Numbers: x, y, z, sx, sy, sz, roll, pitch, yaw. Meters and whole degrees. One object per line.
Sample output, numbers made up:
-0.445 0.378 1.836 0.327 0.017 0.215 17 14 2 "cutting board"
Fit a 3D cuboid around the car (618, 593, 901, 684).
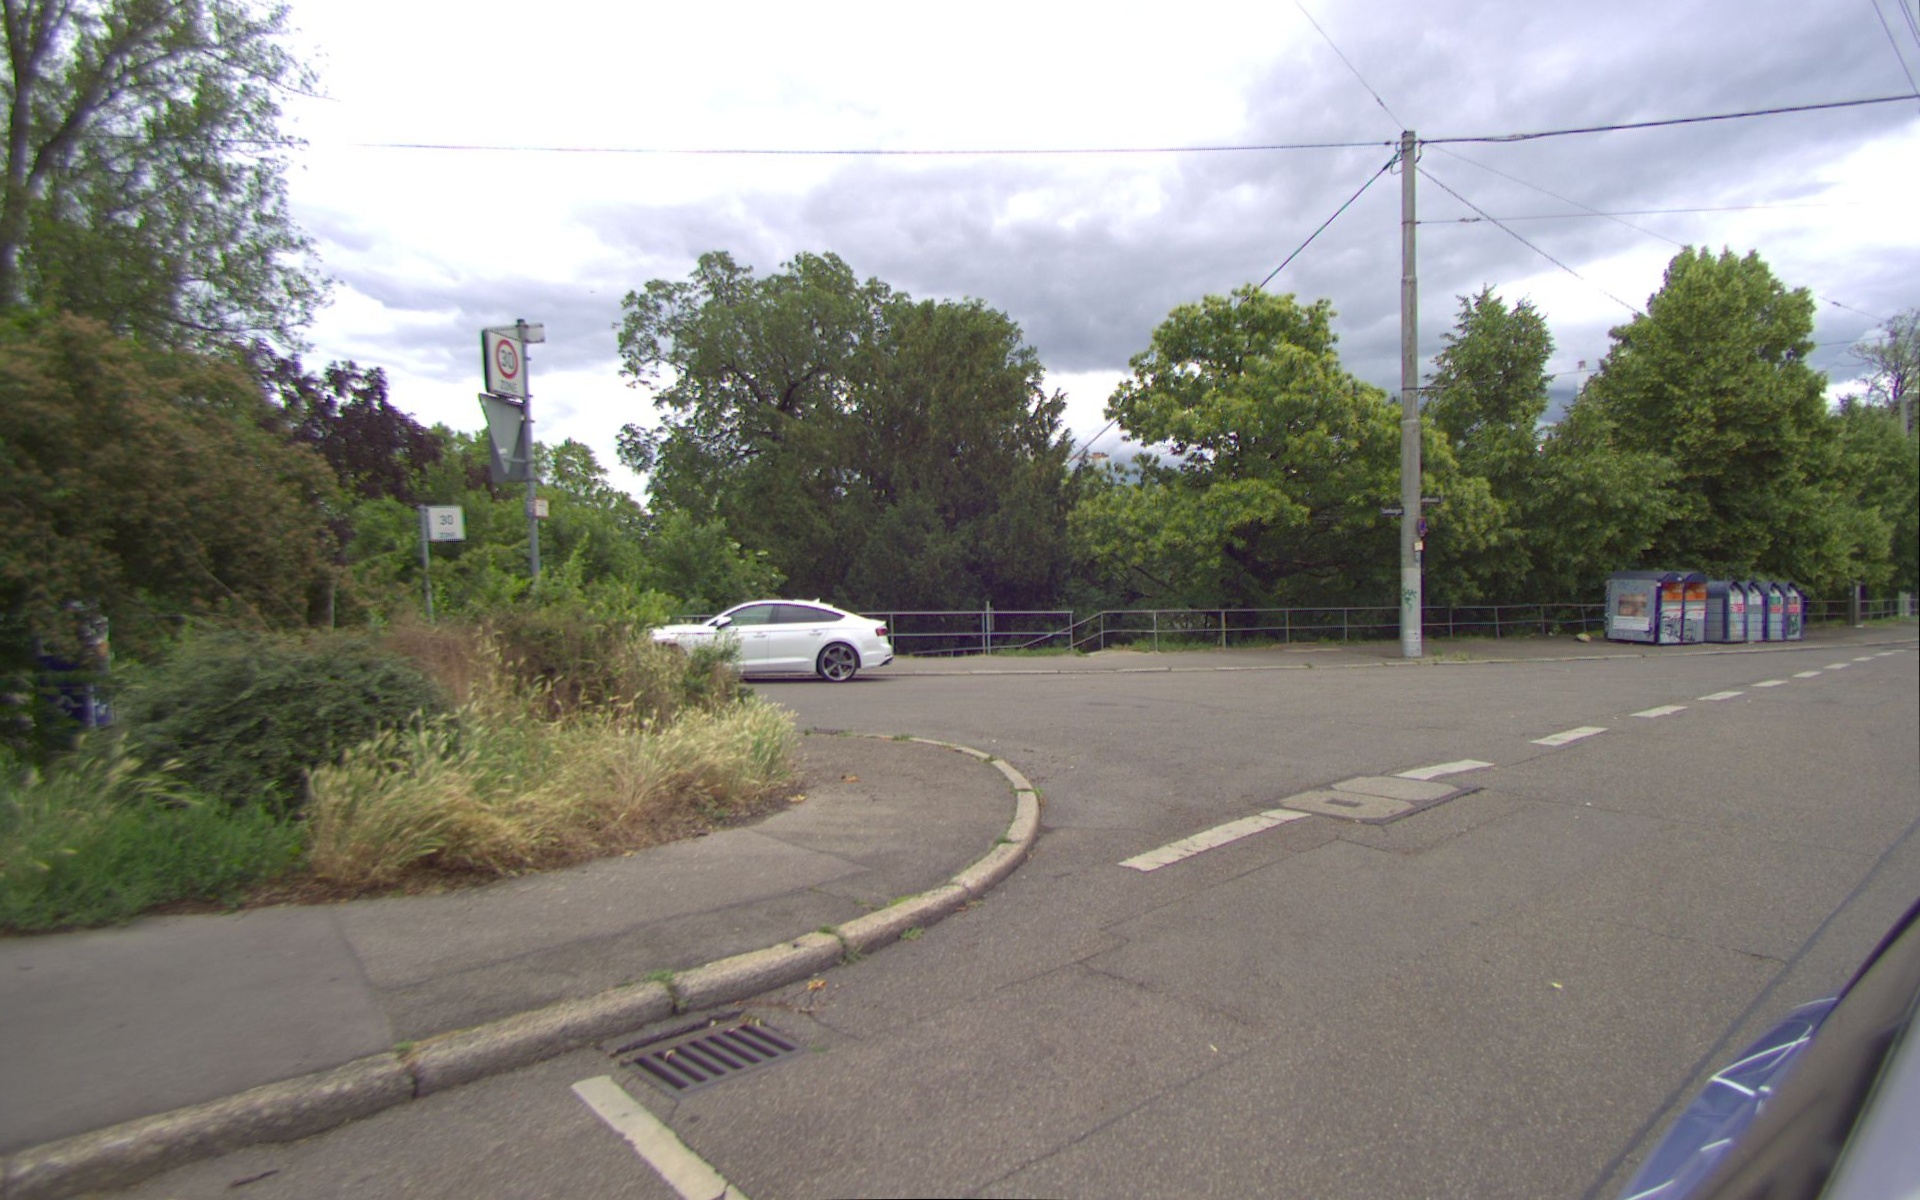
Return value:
-3.412 0.622 17.361 4.503 1.399 1.903 0 -1 -13 "car"
